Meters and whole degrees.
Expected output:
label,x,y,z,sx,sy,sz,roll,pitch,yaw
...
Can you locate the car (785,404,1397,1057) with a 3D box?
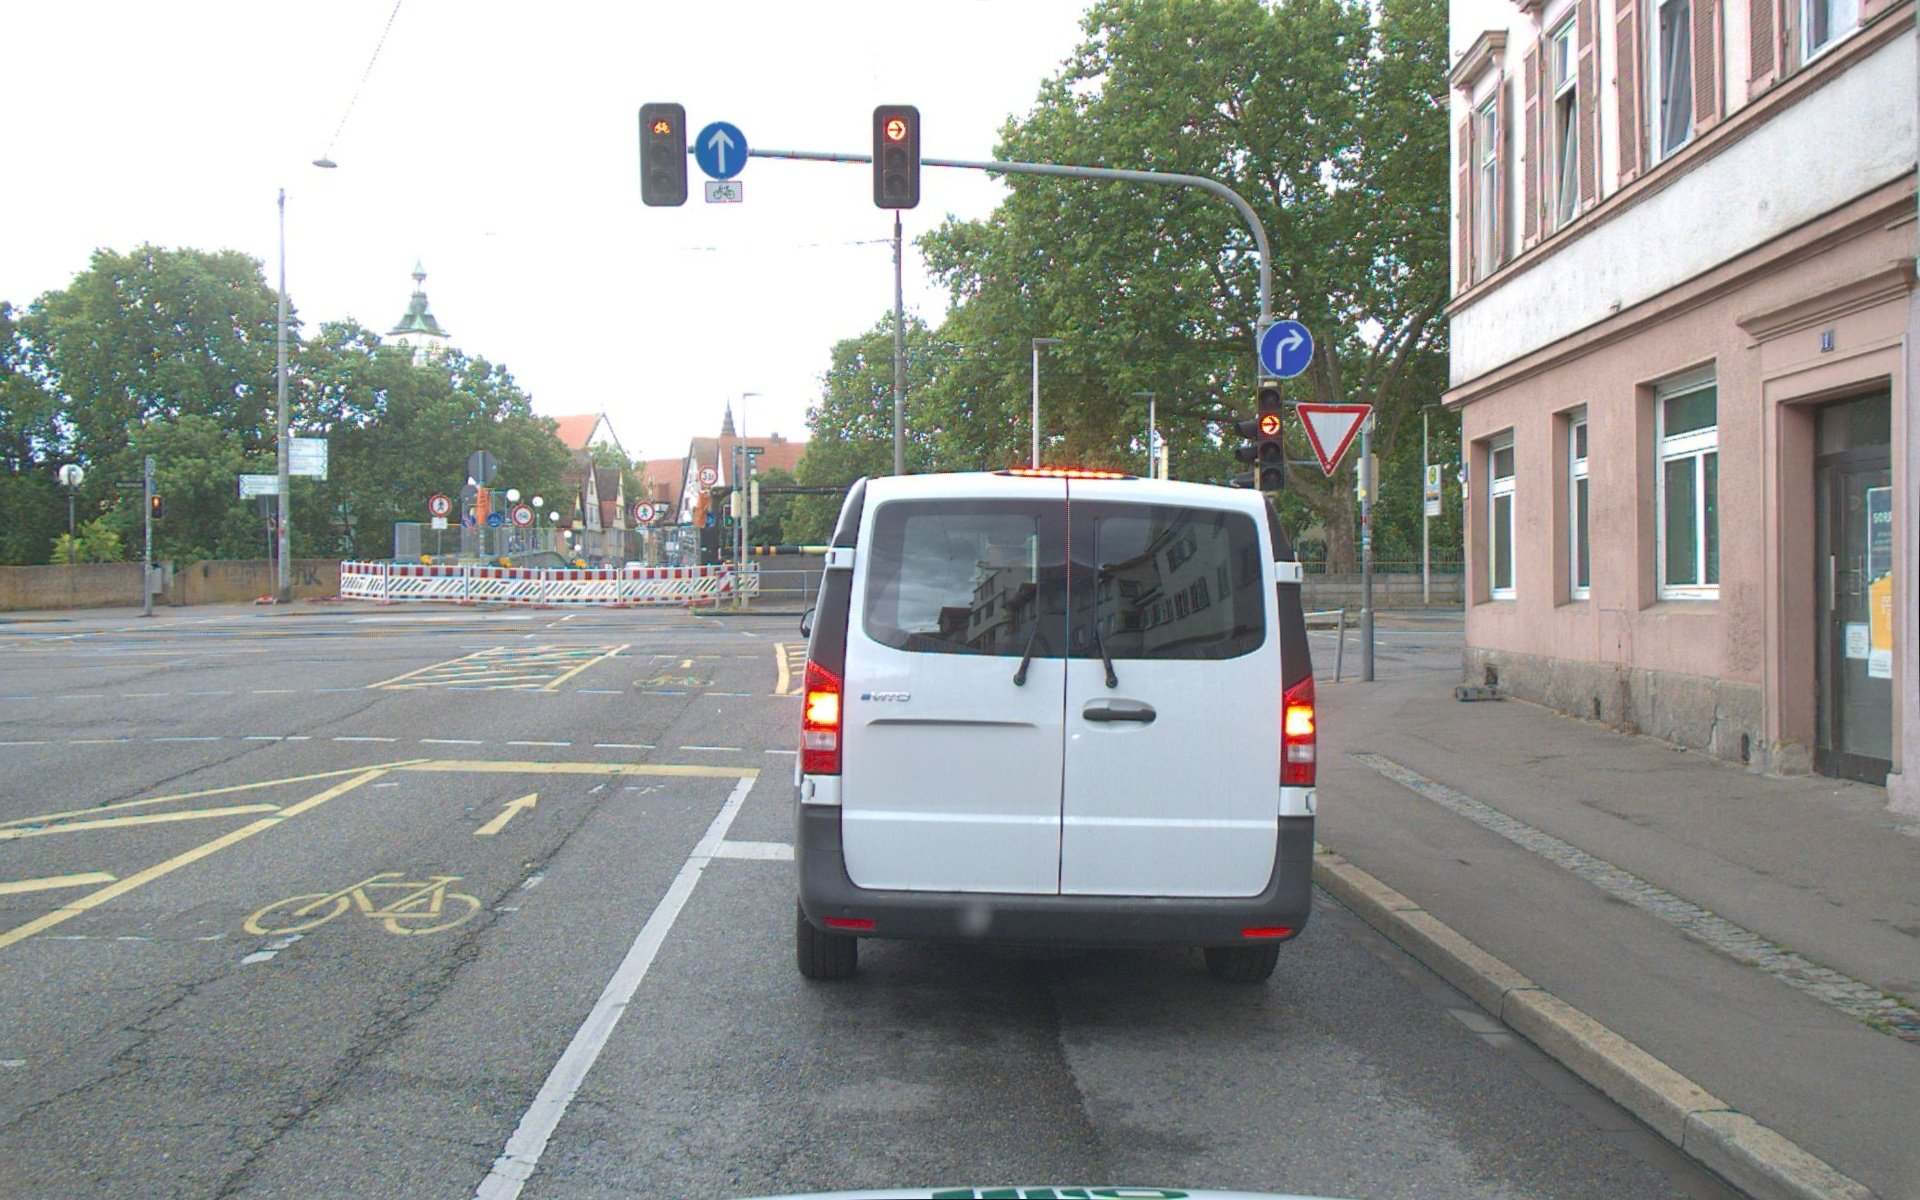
label,x,y,z,sx,sy,sz,roll,pitch,yaw
car,0.383,0.354,7.601,1.911,2.048,4.698,1,2,-1
